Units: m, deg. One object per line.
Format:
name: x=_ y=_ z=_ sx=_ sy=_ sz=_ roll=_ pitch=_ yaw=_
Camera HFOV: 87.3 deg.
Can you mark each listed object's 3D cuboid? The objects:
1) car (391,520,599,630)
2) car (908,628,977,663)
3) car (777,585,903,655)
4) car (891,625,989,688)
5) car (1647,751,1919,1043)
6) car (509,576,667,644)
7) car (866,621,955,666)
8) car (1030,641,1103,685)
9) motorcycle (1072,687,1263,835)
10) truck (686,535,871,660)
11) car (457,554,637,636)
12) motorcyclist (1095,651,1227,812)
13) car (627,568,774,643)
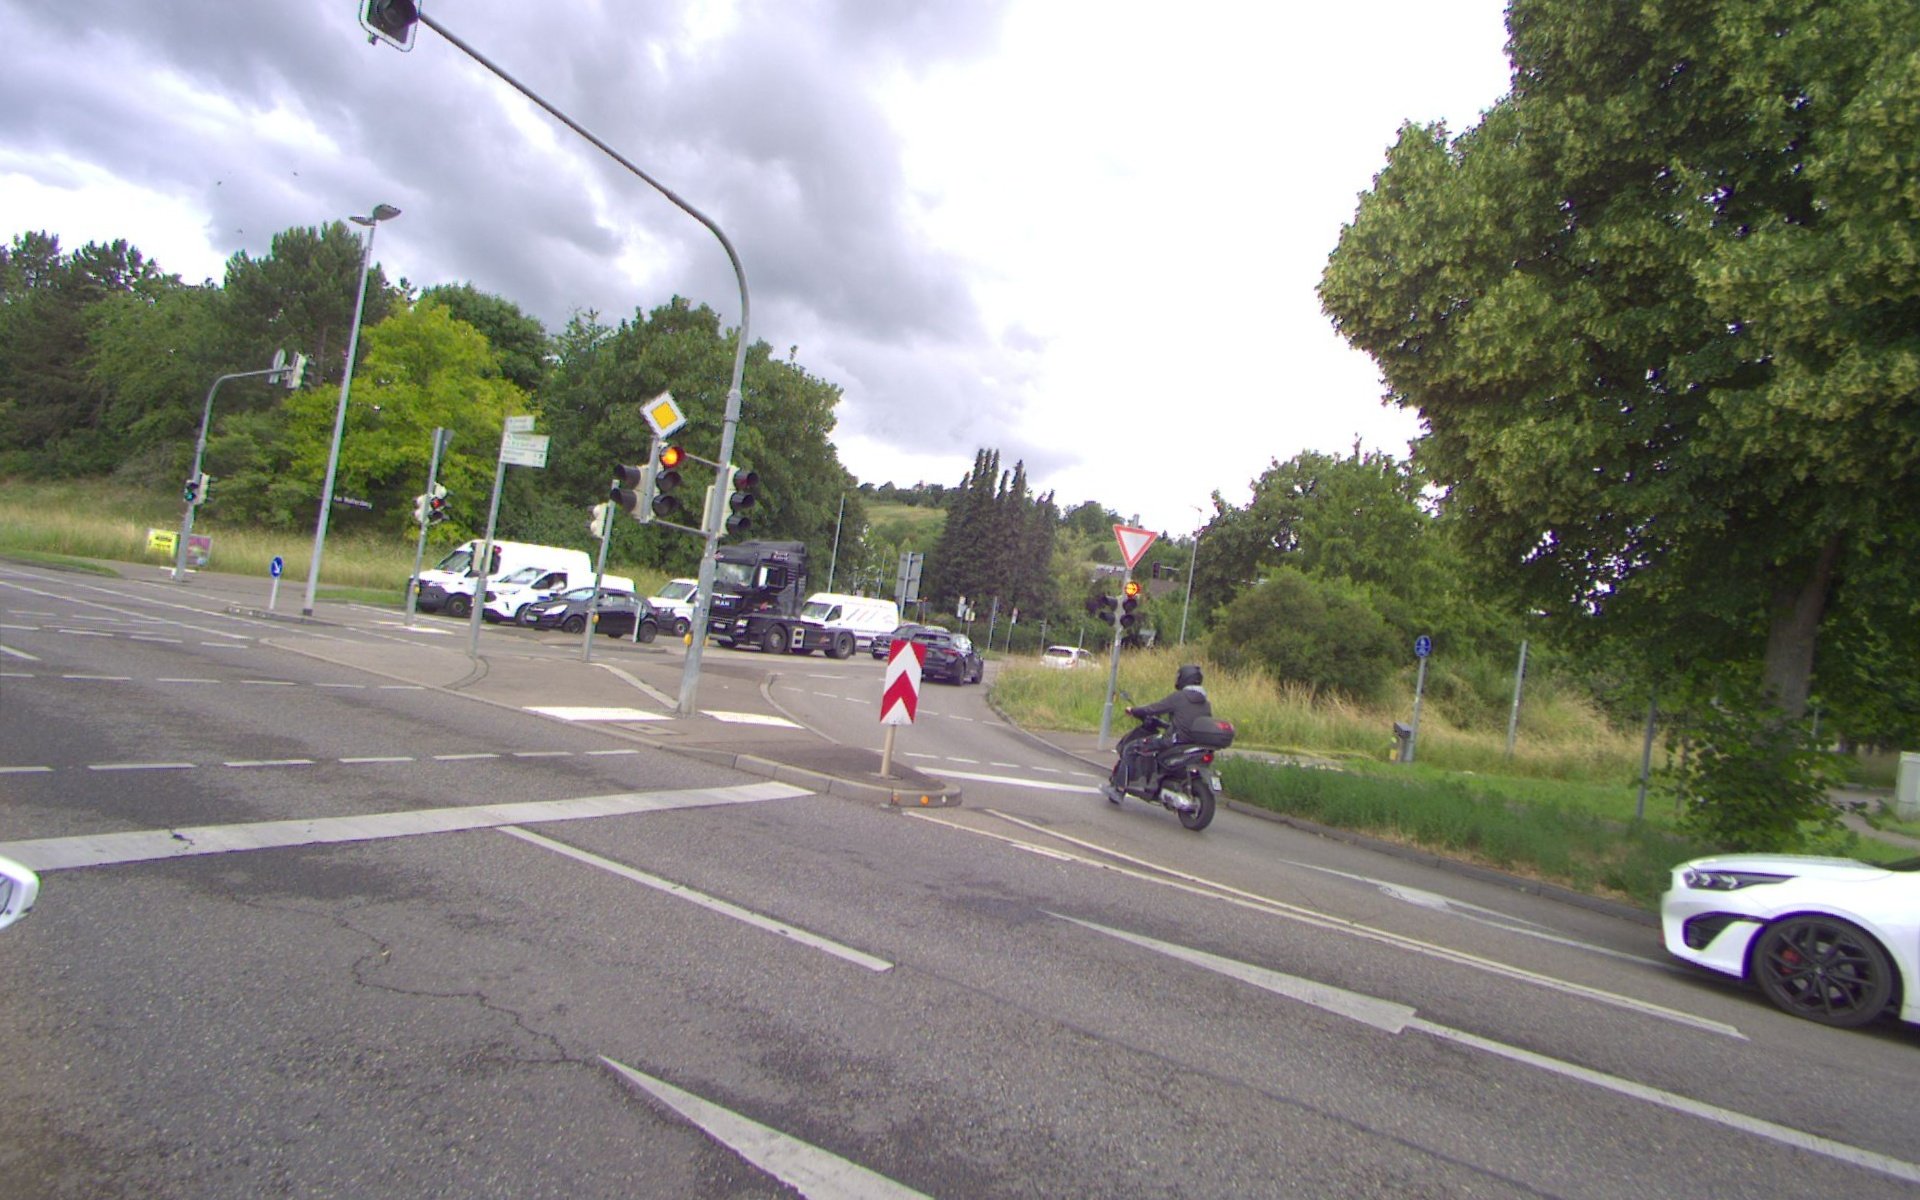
car: x=-15.329 y=-0.734 z=33.598 sx=2.100 sy=2.814 sz=5.903 roll=7 pitch=-1 yaw=32
car: x=-0.928 y=2.515 z=55.311 sx=1.704 sy=1.453 sz=3.925 roll=7 pitch=-1 yaw=33
car: x=-5.660 y=1.054 z=48.620 sx=2.160 sy=2.640 sz=6.509 roll=7 pitch=-1 yaw=32
car: x=-0.493 y=1.640 z=29.975 sx=1.753 sy=1.463 sz=4.530 roll=9 pitch=0 yaw=12
car: x=6.703 y=1.994 z=5.668 sx=4.415 sy=1.377 sz=1.781 roll=8 pitch=-2 yaw=41
car: x=-10.598 y=0.338 z=28.930 sx=1.703 sy=1.453 sz=3.927 roll=7 pitch=-1 yaw=31
car: x=-2.016 y=1.845 z=42.135 sx=1.703 sy=1.453 sz=3.927 roll=7 pitch=-1 yaw=31
car: x=4.458 y=2.638 z=41.723 sx=1.754 sy=1.460 sz=3.834 roll=9 pitch=0 yaw=23
motorcycle: x=2.127 y=1.646 z=10.607 sx=0.743 sy=1.159 sz=1.928 roll=10 pitch=-3 yaw=-30
truck: x=-6.204 y=0.027 z=35.342 sx=2.682 sy=3.580 sz=6.061 roll=7 pitch=-1 yaw=32
car: x=-12.926 y=-0.092 z=31.816 sx=1.999 sy=1.918 sz=4.862 roll=7 pitch=-1 yaw=31
motorcyclist: x=2.123 y=1.377 z=10.687 sx=0.743 sy=1.506 sz=0.926 roll=10 pitch=-2 yaw=-30
car: x=-10.419 y=0.292 z=40.906 sx=2.100 sy=2.316 sz=5.709 roll=7 pitch=-1 yaw=32
